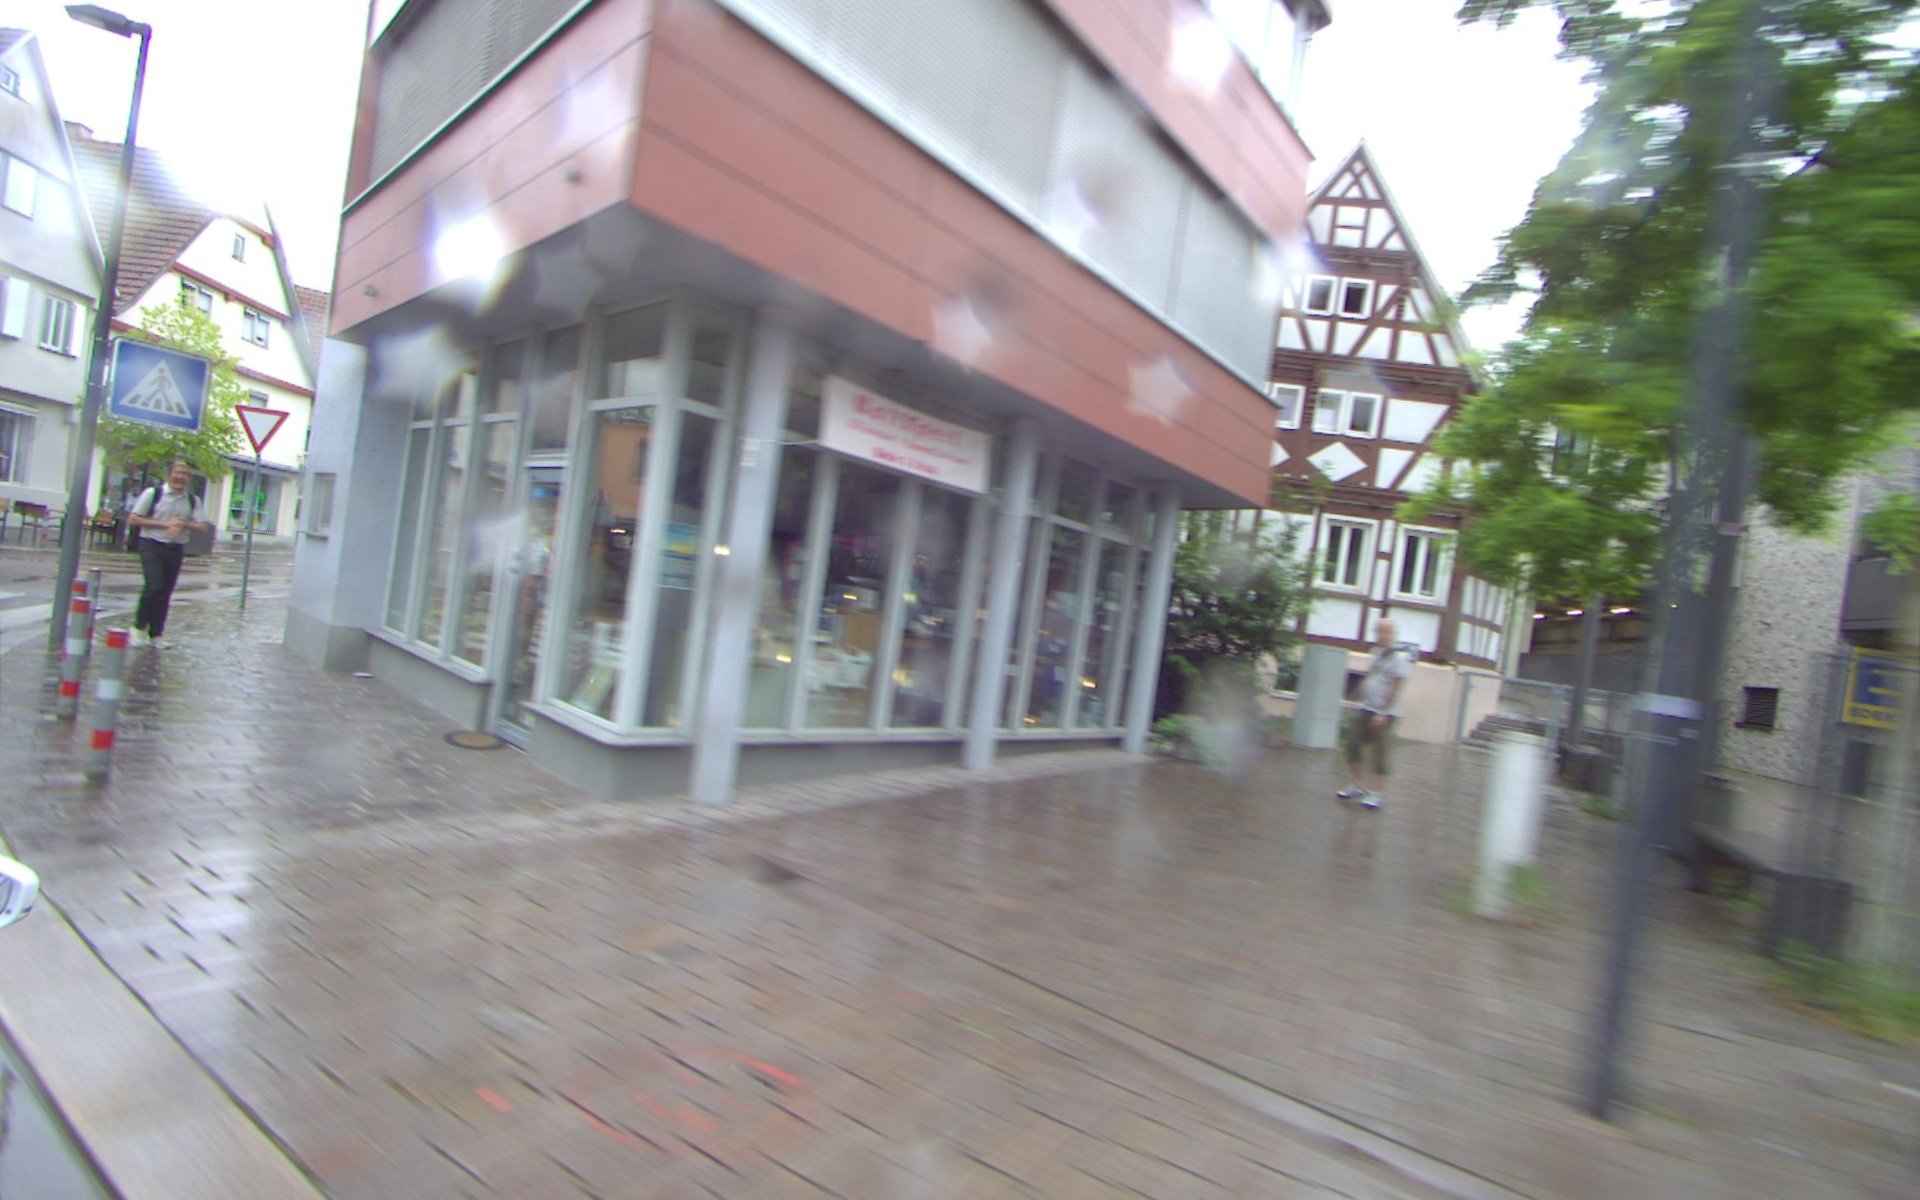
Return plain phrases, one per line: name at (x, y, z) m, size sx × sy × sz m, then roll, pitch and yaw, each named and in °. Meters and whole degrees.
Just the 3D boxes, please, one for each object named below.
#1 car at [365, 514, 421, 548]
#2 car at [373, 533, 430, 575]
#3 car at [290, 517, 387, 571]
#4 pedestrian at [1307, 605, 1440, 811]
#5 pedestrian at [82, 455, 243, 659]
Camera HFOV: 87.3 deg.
car at (-33.362, -4.085, 59.184) m, size 1.985 × 1.613 × 3.952 m, roll 5°, pitch 2°, yaw -42°
car at (-26.024, -2.167, 46.973) m, size 1.975 × 1.613 × 3.973 m, roll 6°, pitch 2°, yaw -26°
car at (-22.523, -2.039, 36.633) m, size 1.970 × 1.613 × 3.982 m, roll 6°, pitch 1°, yaw -18°
pedestrian at (3.945, 1.006, 9.597) m, size 0.699 × 1.808 × 0.842 m, roll 9°, pitch 3°, yaw 45°
pedestrian at (-8.231, -0.420, 10.422) m, size 0.848 × 1.938 × 0.758 m, roll 7°, pitch 0°, yaw 0°
